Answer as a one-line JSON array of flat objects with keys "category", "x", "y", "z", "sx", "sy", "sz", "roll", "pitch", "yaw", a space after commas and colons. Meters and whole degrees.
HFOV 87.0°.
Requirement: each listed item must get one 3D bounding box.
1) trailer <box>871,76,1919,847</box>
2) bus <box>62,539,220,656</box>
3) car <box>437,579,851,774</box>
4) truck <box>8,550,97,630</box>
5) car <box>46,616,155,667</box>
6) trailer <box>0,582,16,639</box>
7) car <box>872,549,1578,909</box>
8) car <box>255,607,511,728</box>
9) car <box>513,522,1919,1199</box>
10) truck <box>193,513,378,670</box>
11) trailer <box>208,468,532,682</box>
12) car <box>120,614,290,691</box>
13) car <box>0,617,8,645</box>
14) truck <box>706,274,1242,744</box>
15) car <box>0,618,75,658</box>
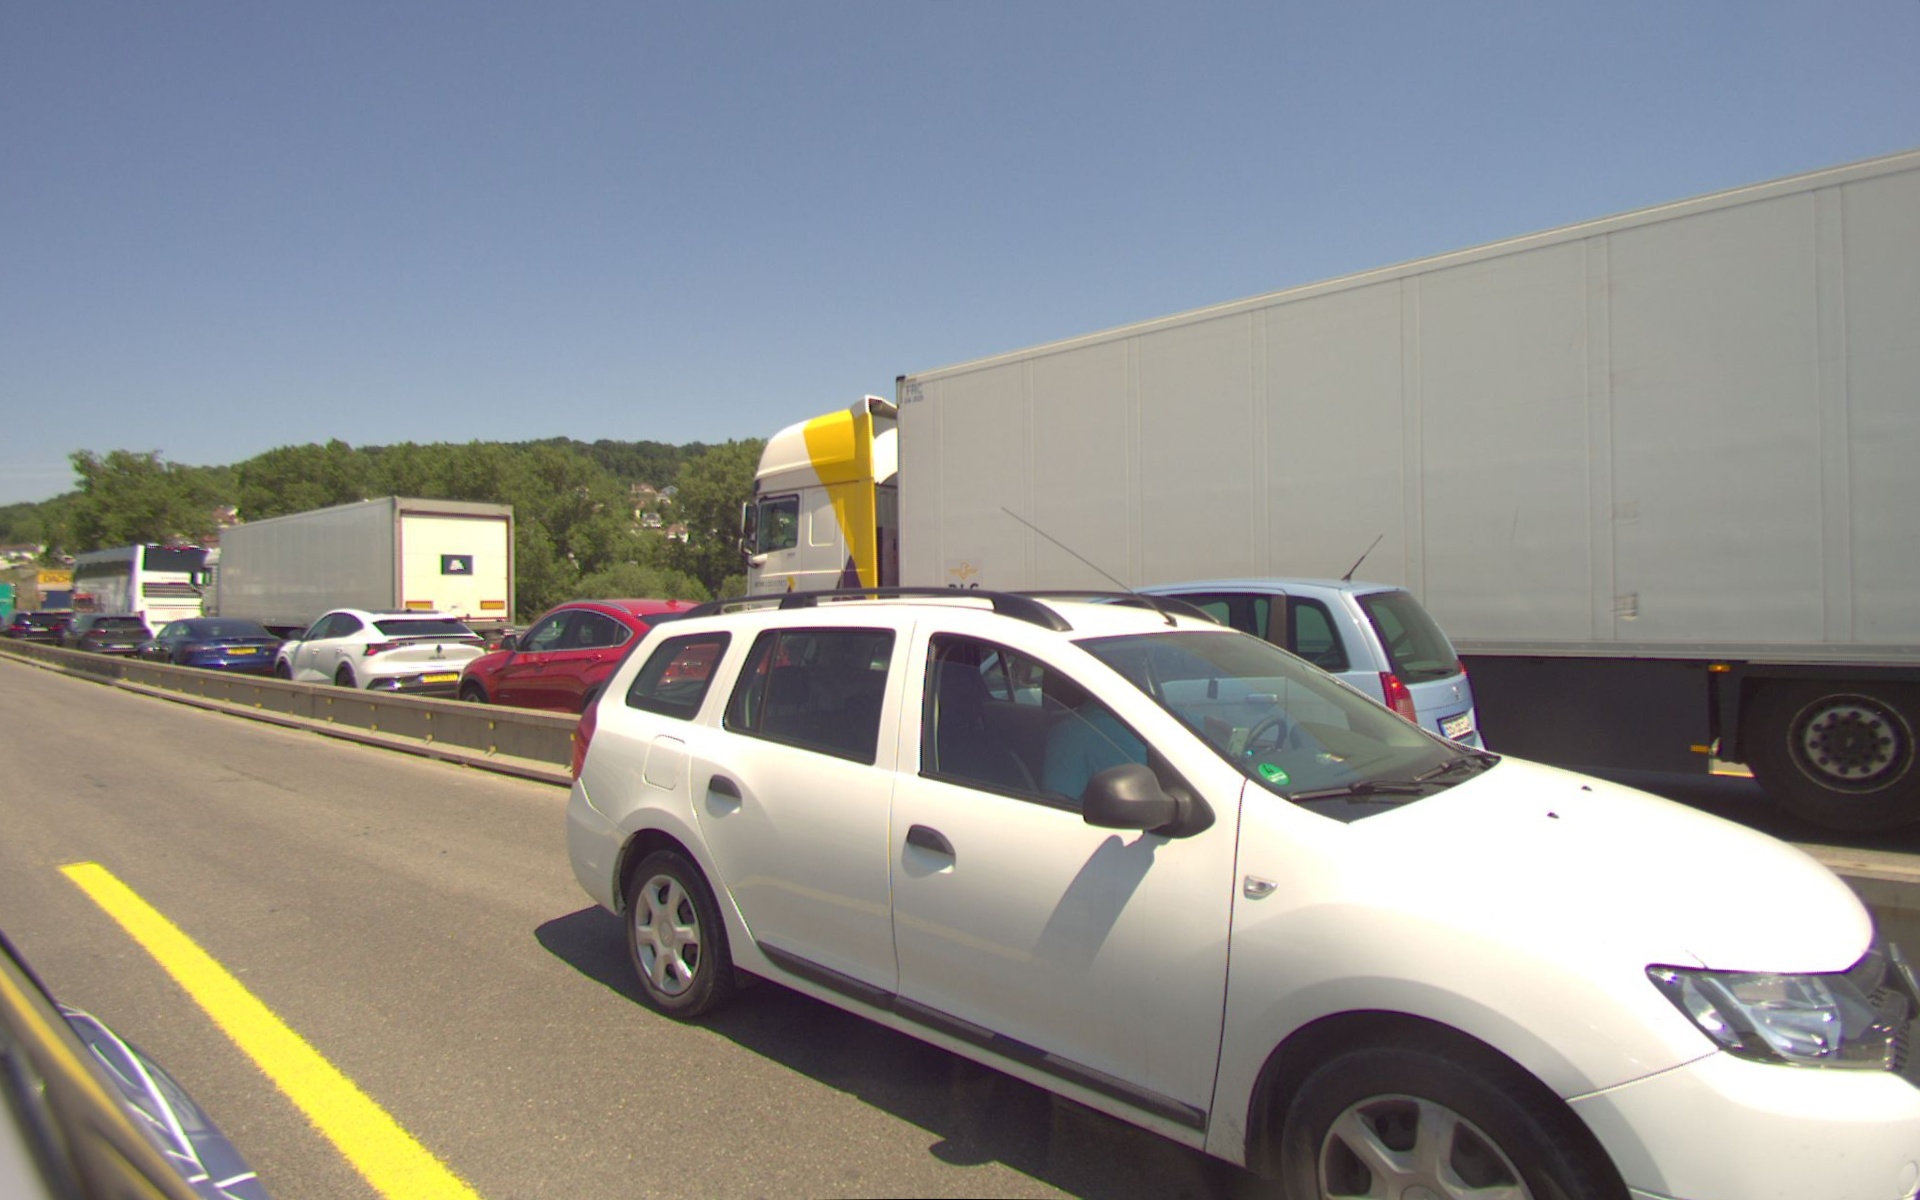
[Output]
[{"category": "trailer", "x": 5.295, "y": -0.737, "z": 7.508, "sx": 13.936, "sy": 4.240, "sz": 2.955, "roll": -2, "pitch": -1, "yaw": 41}, {"category": "bus", "x": -34.995, "y": -0.004, "z": 42.905, "sx": 14.467, "sy": 4.296, "sz": 2.711, "roll": -1, "pitch": -1, "yaw": 41}, {"category": "car", "x": -3.555, "y": 0.721, "z": 10.879, "sx": 4.754, "sy": 1.643, "sz": 1.973, "roll": -3, "pitch": -1, "yaw": 40}, {"category": "truck", "x": -53.061, "y": -0.397, "z": 59.060, "sx": 10.076, "sy": 4.184, "sz": 2.772, "roll": -3, "pitch": -3, "yaw": 42}, {"category": "car", "x": -26.420, "y": 1.232, "z": 31.053, "sx": 4.679, "sy": 1.434, "sz": 1.814, "roll": -1, "pitch": -1, "yaw": 40}, {"category": "trailer", "x": -81.536, "y": 0.960, "z": 84.476, "sx": 13.164, "sy": 4.464, "sz": 2.785, "roll": -2, "pitch": -2, "yaw": 42}, {"category": "car", "x": 1.477, "y": 0.595, "z": 6.476, "sx": 3.998, "sy": 1.586, "sz": 1.808, "roll": -1, "pitch": -1, "yaw": 41}, {"category": "car", "x": -9.234, "y": 0.996, "z": 16.016, "sx": 4.878, "sy": 1.633, "sz": 1.973, "roll": -2, "pitch": -2, "yaw": 40}, {"category": "car", "x": 0.500, "y": 0.678, "z": 3.390, "sx": 4.702, "sy": 1.542, "sz": 1.800, "roll": -1, "pitch": -1, "yaw": 40}, {"category": "truck", "x": -20.511, "y": -0.146, "z": 30.608, "sx": 6.699, "sy": 4.230, "sz": 3.064, "roll": -2, "pitch": -1, "yaw": 42}, {"category": "trailer", "x": -16.145, "y": -0.371, "z": 26.729, "sx": 14.071, "sy": 4.417, "sz": 3.108, "roll": -2, "pitch": -1, "yaw": 41}, {"category": "car", "x": -16.585, "y": 1.129, "z": 22.124, "sx": 5.116, "sy": 1.448, "sz": 1.794, "roll": -3, "pitch": -1, "yaw": 40}, {"category": "car", "x": -51.541, "y": 1.613, "z": 53.085, "sx": 4.927, "sy": 1.454, "sz": 1.819, "roll": -1, "pitch": -1, "yaw": 41}, {"category": "truck", "x": -0.051, "y": -0.764, "z": 12.106, "sx": 5.870, "sy": 4.216, "sz": 2.947, "roll": -2, "pitch": -1, "yaw": 41}, {"category": "car", "x": -37.049, "y": 1.496, "z": 40.386, "sx": 5.087, "sy": 1.434, "sz": 1.898, "roll": -2, "pitch": 0, "yaw": 41}]
